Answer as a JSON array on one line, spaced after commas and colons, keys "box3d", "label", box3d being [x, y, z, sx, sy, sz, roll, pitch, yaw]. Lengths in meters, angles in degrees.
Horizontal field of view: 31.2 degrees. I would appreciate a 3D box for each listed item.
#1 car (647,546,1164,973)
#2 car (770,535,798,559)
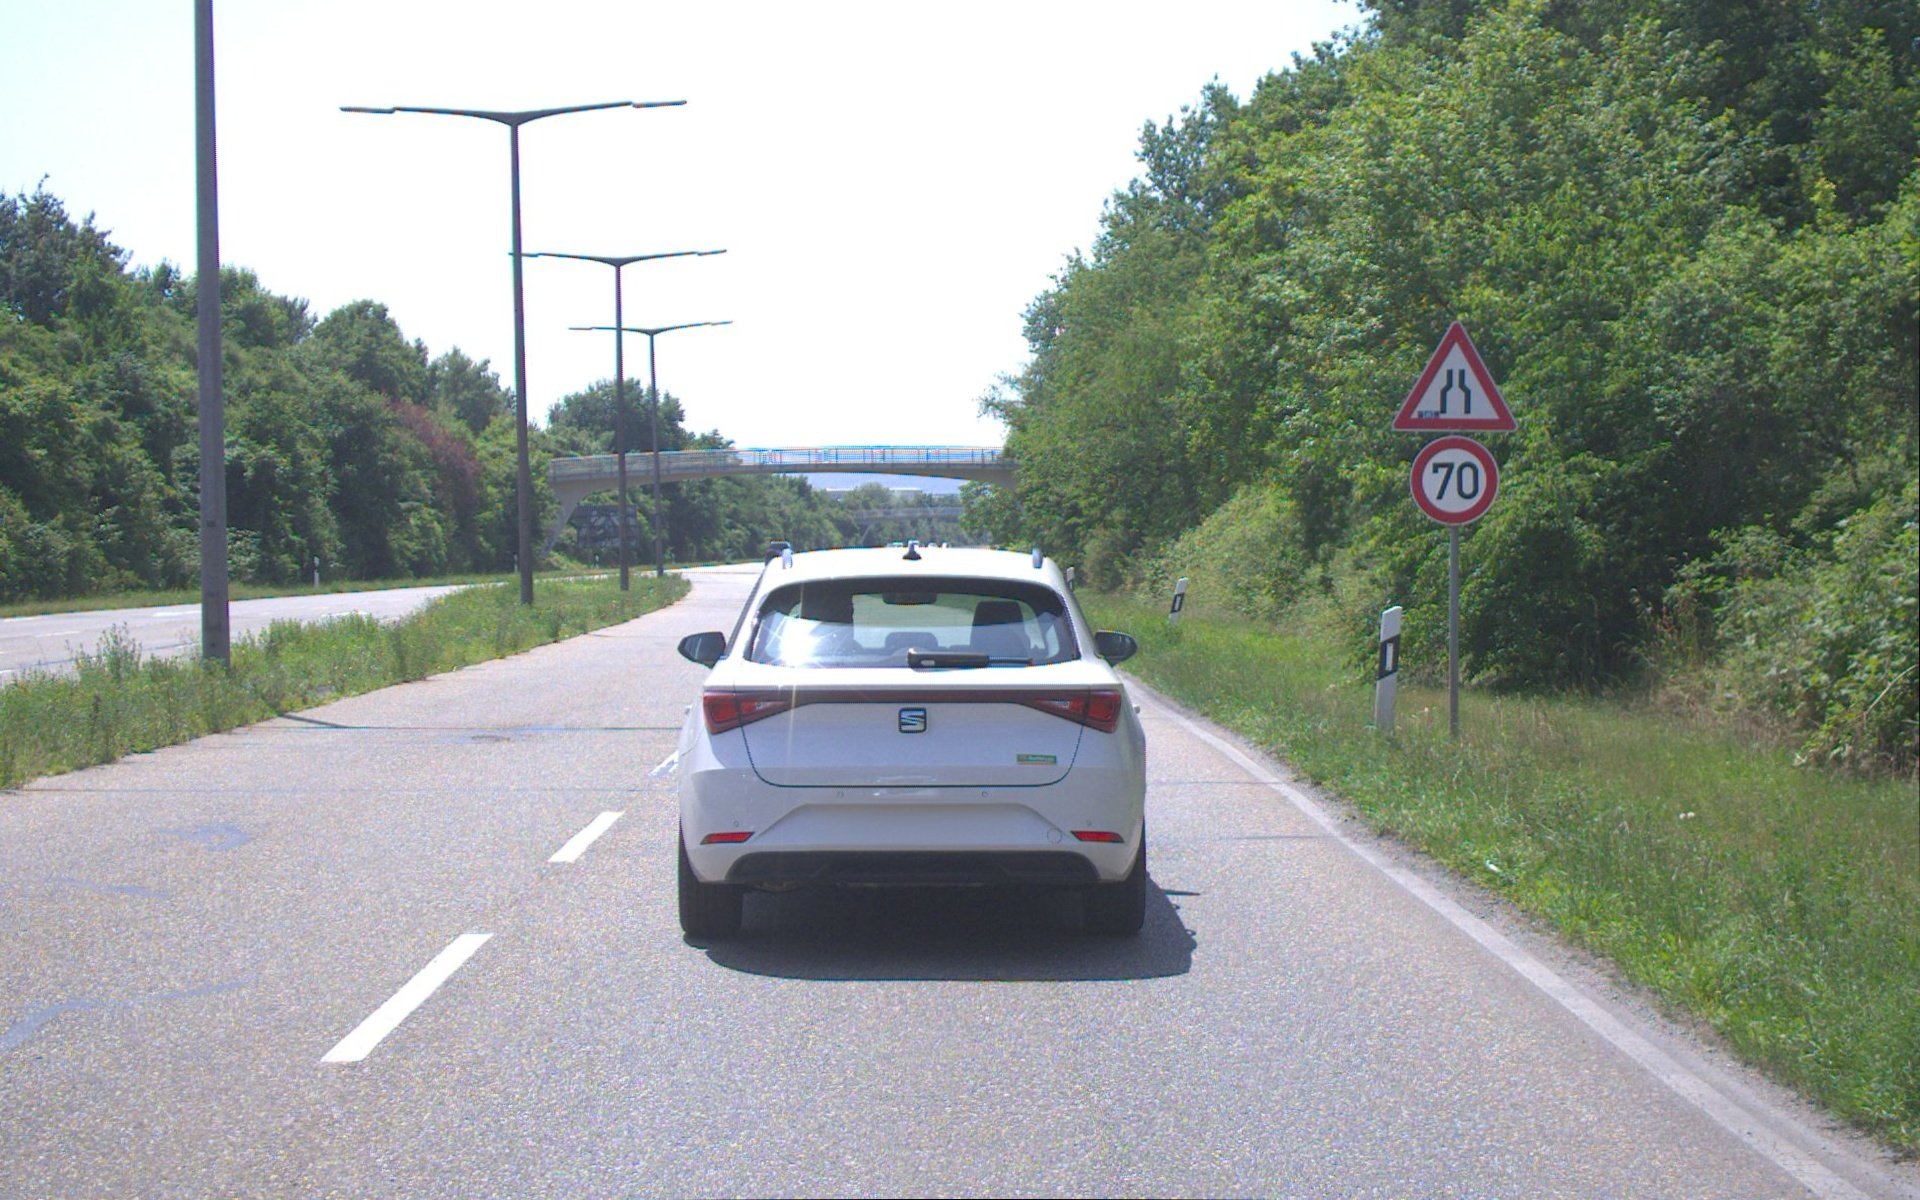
[{"box3d": [-0.187, 0.526, 13.567, 1.734, 1.423, 3.694, 1, 0, 0], "label": "car"}, {"box3d": [-12.856, -3.858, 251.451, 1.854, 1.703, 4.001, -1, 1, -5], "label": "car"}]
